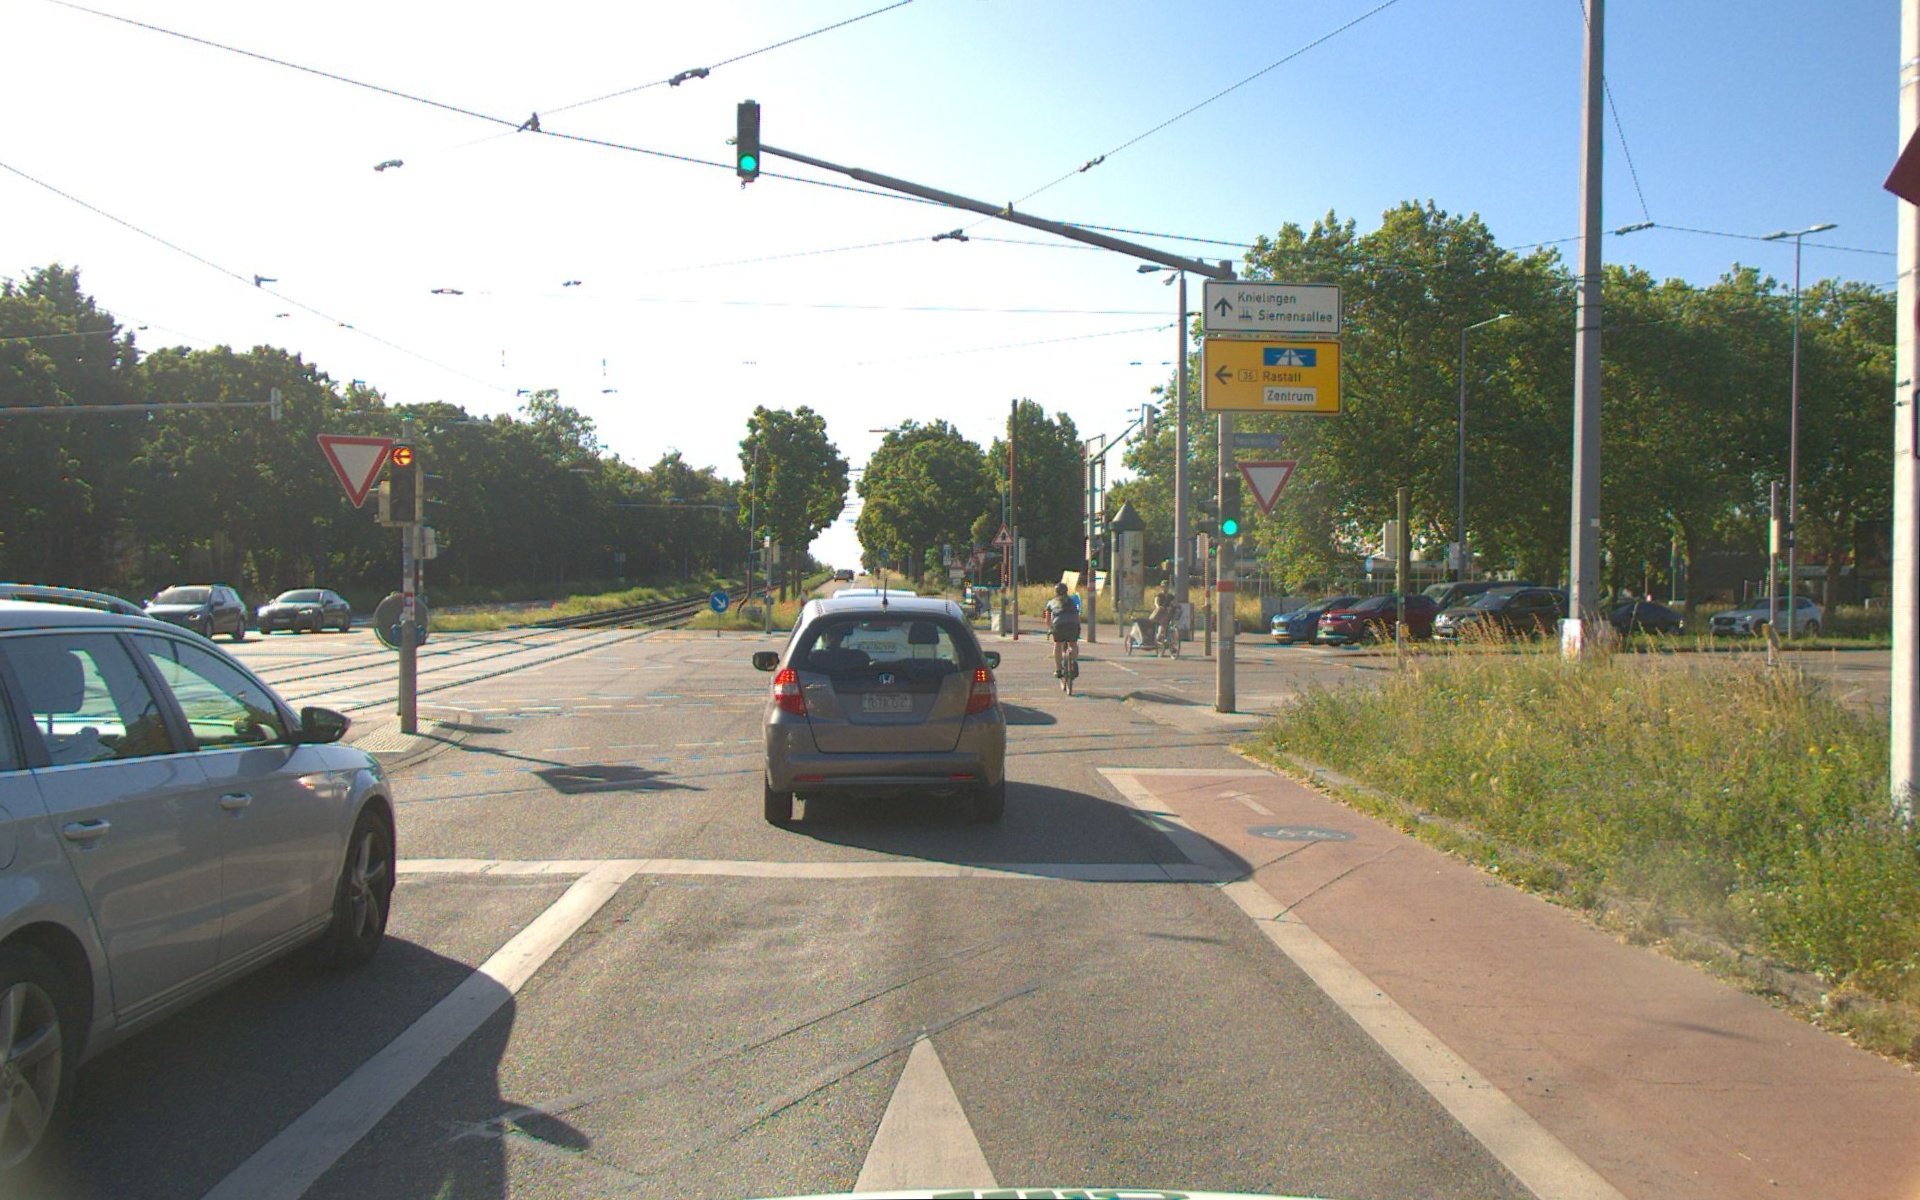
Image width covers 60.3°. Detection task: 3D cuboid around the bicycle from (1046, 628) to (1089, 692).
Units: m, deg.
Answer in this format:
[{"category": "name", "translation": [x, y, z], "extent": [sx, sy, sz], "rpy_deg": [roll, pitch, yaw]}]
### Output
[{"category": "bicycle", "translation": [1.707, 0.944, 26.527], "extent": [0.513, 0.939, 2.088], "rpy_deg": [0, 0, -1]}]

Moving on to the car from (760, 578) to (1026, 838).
[{"category": "car", "translation": [-0.483, 0.667, 12.369], "extent": [1.637, 1.541, 3.673], "rpy_deg": [2, 2, -2]}]

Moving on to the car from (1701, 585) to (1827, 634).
[{"category": "car", "translation": [29.901, 0.370, 61.480], "extent": [4.708, 1.711, 1.891], "rpy_deg": [2, -1, -29]}]

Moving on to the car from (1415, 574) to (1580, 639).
[{"category": "car", "translation": [14.940, 0.174, 45.918], "extent": [4.432, 1.741, 1.902], "rpy_deg": [0, 0, -30]}]

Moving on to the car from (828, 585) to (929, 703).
[{"category": "car", "translation": [-1.146, 0.582, 23.451], "extent": [1.324, 1.554, 3.122], "rpy_deg": [0, 0, -3]}]

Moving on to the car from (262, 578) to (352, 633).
[{"category": "car", "translation": [-20.855, 0.165, 52.950], "extent": [1.758, 1.717, 3.994], "rpy_deg": [0, 0, -8]}]

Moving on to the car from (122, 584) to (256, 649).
[{"category": "car", "translation": [-20.504, 0.417, 44.198], "extent": [1.778, 1.624, 4.687], "rpy_deg": [0, 0, -6]}]

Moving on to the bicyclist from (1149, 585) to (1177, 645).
[{"category": "bicyclist", "translation": [4.646, 0.345, 37.900], "extent": [0.500, 1.364, 0.563], "rpy_deg": [0, 0, -12]}]

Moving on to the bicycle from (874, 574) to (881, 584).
[{"category": "bicycle", "translation": [-10.257, -2.615, 205.129], "extent": [0.801, 1.066, 2.504], "rpy_deg": [1, -1, -2]}]

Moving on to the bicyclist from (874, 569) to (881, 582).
[{"category": "bicyclist", "translation": [-10.241, -2.999, 205.154], "extent": [0.801, 1.551, 0.965], "rpy_deg": [1, -1, -3]}]

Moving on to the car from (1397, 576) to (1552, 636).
[{"category": "car", "translation": [18.759, 0.213, 60.370], "extent": [5.007, 2.106, 2.127], "rpy_deg": [0, 0, -9]}]

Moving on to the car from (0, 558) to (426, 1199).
[{"category": "car", "translation": [-3.185, 0.682, 5.065], "extent": [1.839, 1.554, 4.418], "rpy_deg": [0, 0, -3]}]

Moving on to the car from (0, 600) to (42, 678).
[{"category": "car", "translation": [-19.107, 0.740, 31.418], "extent": [1.651, 1.484, 3.697], "rpy_deg": [0, 0, -8]}]

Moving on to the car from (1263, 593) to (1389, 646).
[{"category": "car", "translation": [11.655, 0.600, 52.624], "extent": [3.807, 1.628, 1.696], "rpy_deg": [0, 0, -30]}]

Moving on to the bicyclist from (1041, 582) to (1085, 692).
[{"category": "bicyclist", "translation": [1.626, 0.578, 26.169], "extent": [0.603, 1.709, 0.933], "rpy_deg": [0, 0, -2]}]

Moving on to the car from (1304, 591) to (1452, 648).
[{"category": "car", "translation": [12.263, 0.542, 48.526], "extent": [4.027, 1.628, 1.801], "rpy_deg": [0, 0, -26]}]

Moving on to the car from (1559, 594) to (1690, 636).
[{"category": "car", "translation": [23.439, 0.496, 58.331], "extent": [4.505, 1.432, 1.916], "rpy_deg": [0, 0, -29]}]

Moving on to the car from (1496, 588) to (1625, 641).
[{"category": "car", "translation": [18.942, 0.443, 52.182], "extent": [3.800, 1.628, 1.699], "rpy_deg": [0, 0, -26]}]

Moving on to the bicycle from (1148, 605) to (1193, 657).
[{"category": "bicycle", "translation": [4.739, 0.684, 37.336], "extent": [0.458, 1.138, 1.815], "rpy_deg": [0, 0, -11]}]

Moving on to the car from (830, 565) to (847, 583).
[{"category": "car", "translation": [-14.621, -3.093, 198.764], "extent": [1.953, 2.049, 3.998], "rpy_deg": [0, 0, -3]}]

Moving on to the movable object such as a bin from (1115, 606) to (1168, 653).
[{"category": "movable object such as a bin", "translation": [4.312, 0.679, 39.293], "extent": [0.893, 1.087, 1.313], "rpy_deg": [0, 0, -12]}]
